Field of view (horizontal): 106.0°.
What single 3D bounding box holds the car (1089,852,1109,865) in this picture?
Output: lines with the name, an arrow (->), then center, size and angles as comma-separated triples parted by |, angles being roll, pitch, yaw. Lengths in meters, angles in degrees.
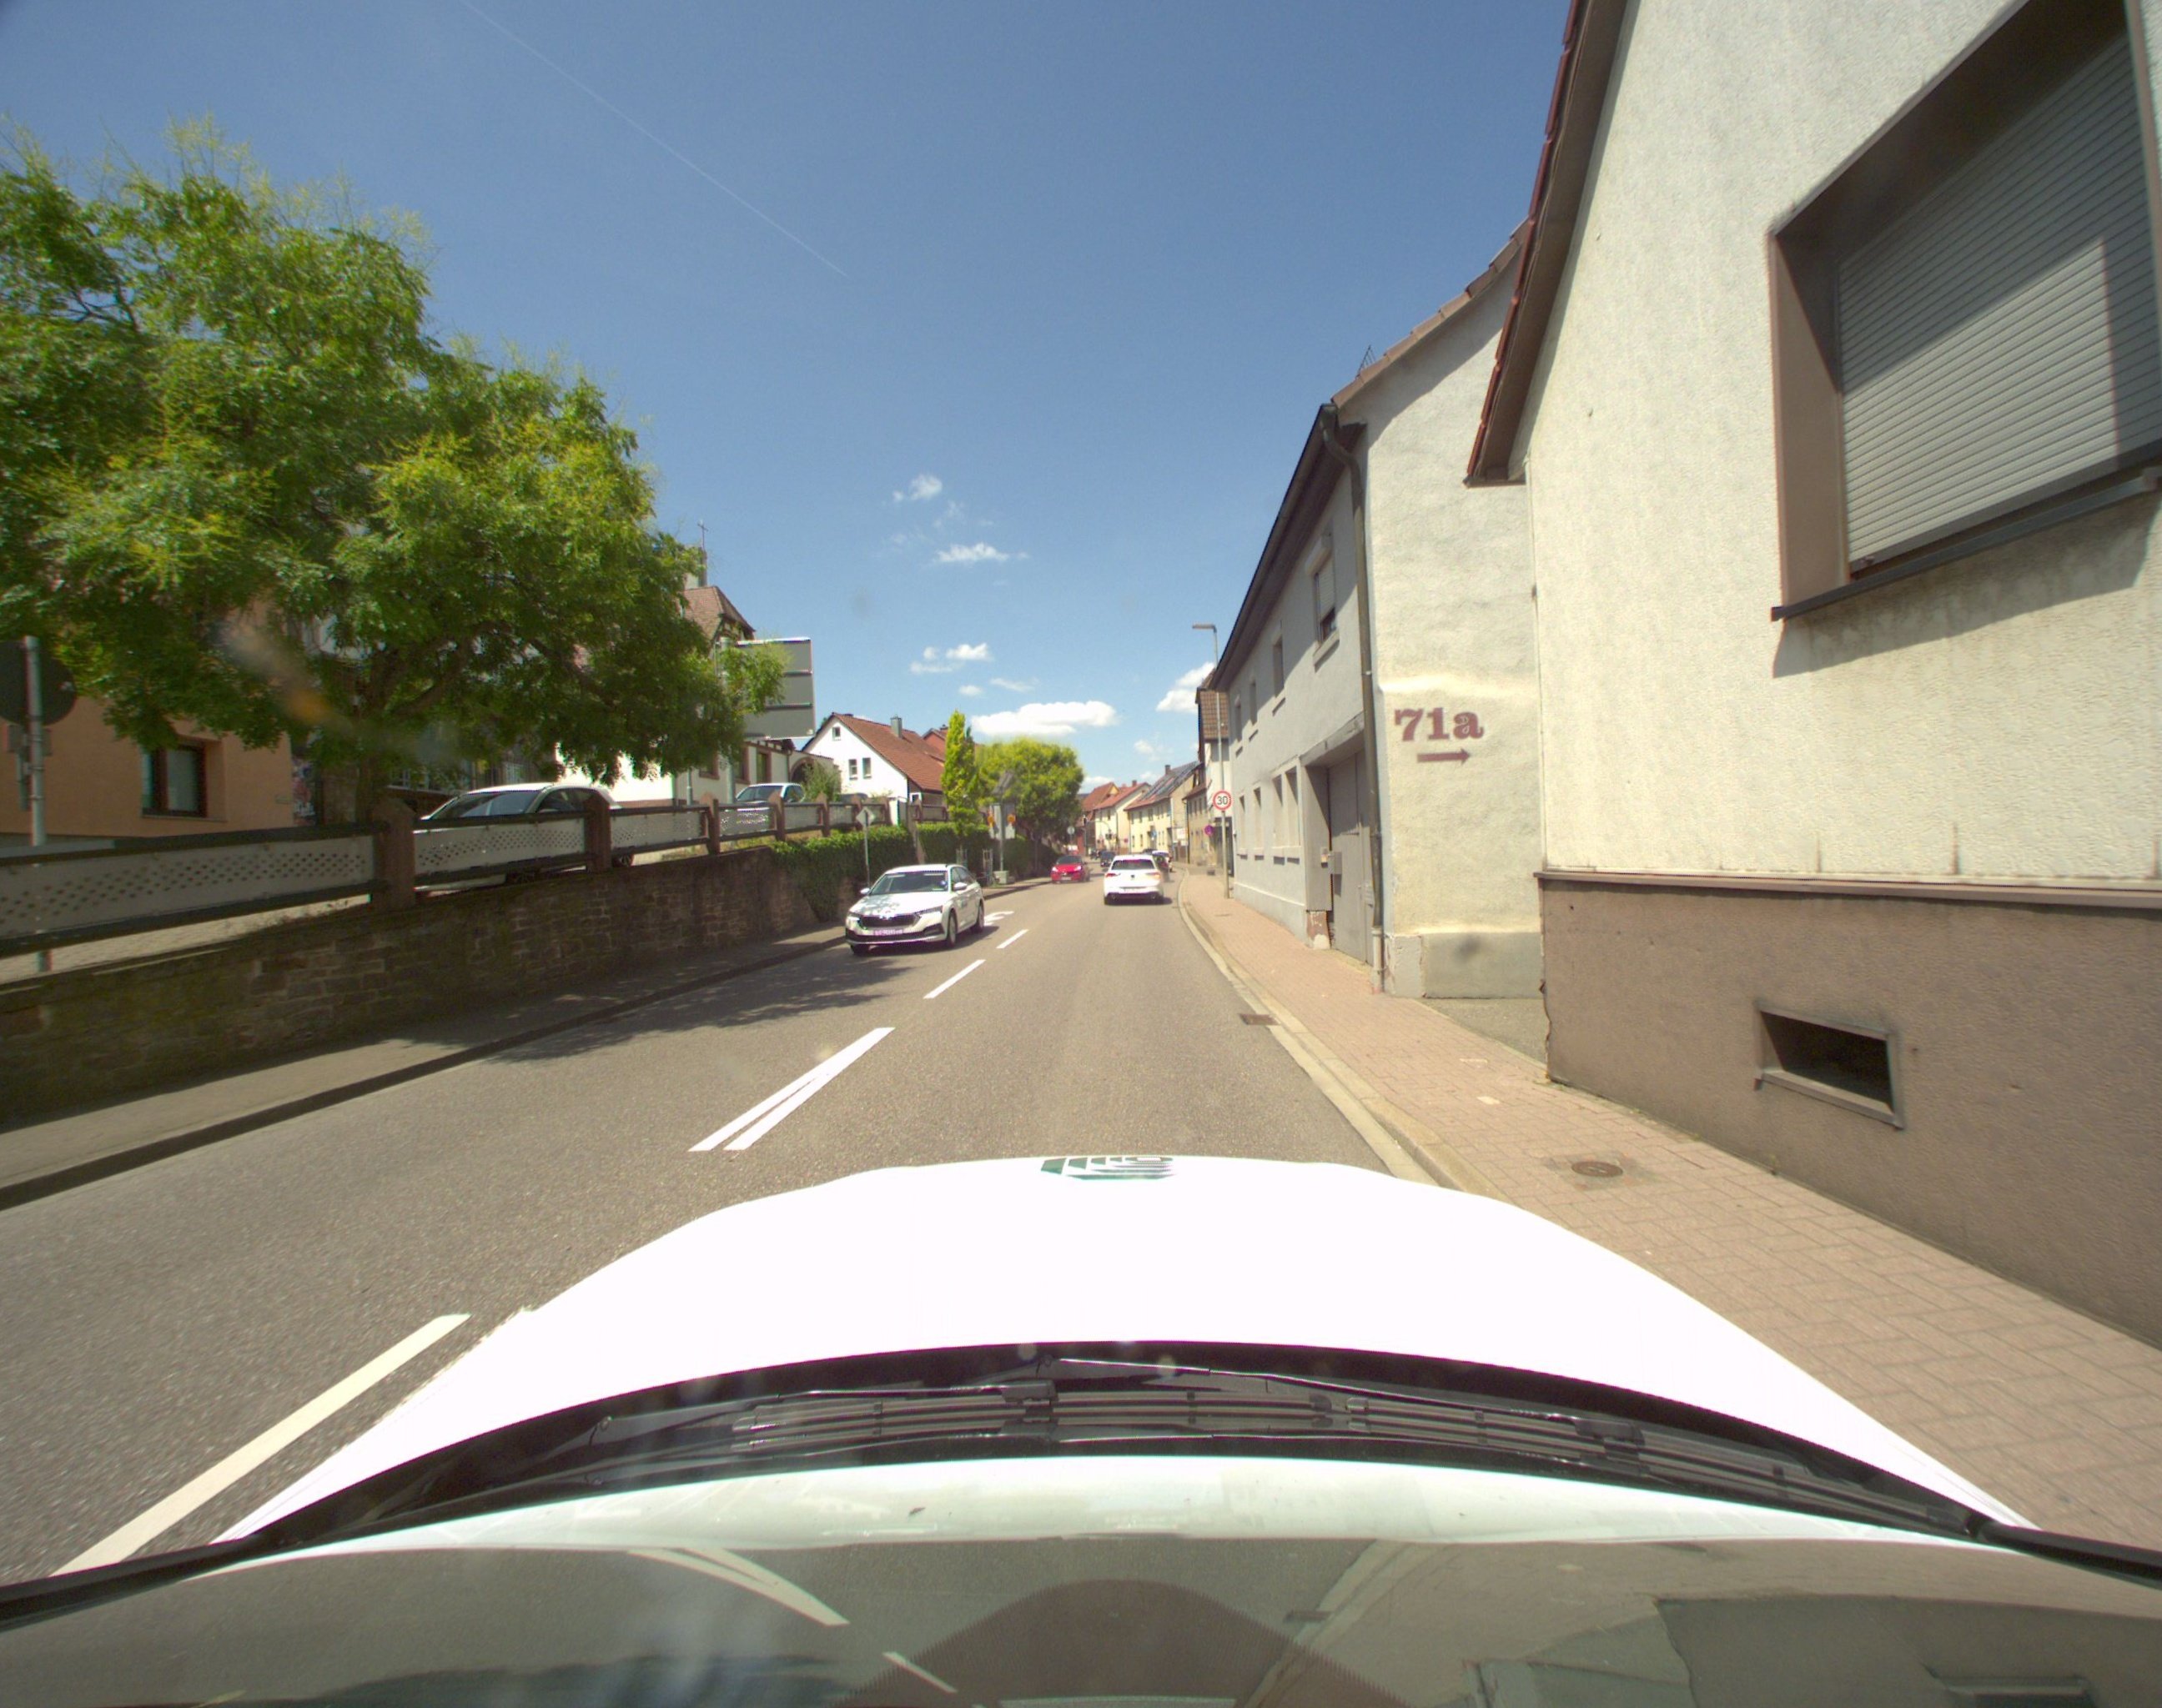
car -> 2.302, 0.558, 103.812 | 1.775, 1.538, 3.986 | -2, 0, -10

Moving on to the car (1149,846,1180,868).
car -> 5.891, 0.231, 57.052 | 1.796, 1.467, 4.012 | -1, 0, 10

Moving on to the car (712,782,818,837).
car -> -9.213, -1.379, 24.058 | 1.572, 1.361, 3.856 | -2, 6, -1

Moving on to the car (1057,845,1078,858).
car -> -1.976, -0.400, 117.612 | 1.781, 1.765, 3.974 | -2, 0, -19

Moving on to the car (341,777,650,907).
car -> -8.333, -0.323, 12.126 | 1.688, 1.542, 3.856 | -2, 6, -1

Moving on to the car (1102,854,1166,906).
car -> 1.554, 0.737, 25.031 | 1.801, 1.467, 4.001 | -1, 0, 1

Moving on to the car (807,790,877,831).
car -> -9.301, -1.756, 31.967 | 1.572, 1.361, 3.856 | -2, 6, -1

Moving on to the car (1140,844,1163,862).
car -> 6.477, -0.131, 74.889 | 1.769, 1.538, 4.001 | -2, 0, 1

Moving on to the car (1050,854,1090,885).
car -> -0.543, 0.801, 43.446 | 1.609, 1.444, 3.807 | -4, 0, 5

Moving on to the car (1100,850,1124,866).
car -> 2.892, 0.345, 74.751 | 1.784, 1.377, 4.125 | -2, 0, 7

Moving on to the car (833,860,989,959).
car -> -3.019, 0.924, 15.490 | 1.806, 1.446, 4.432 | -4, 0, 2
